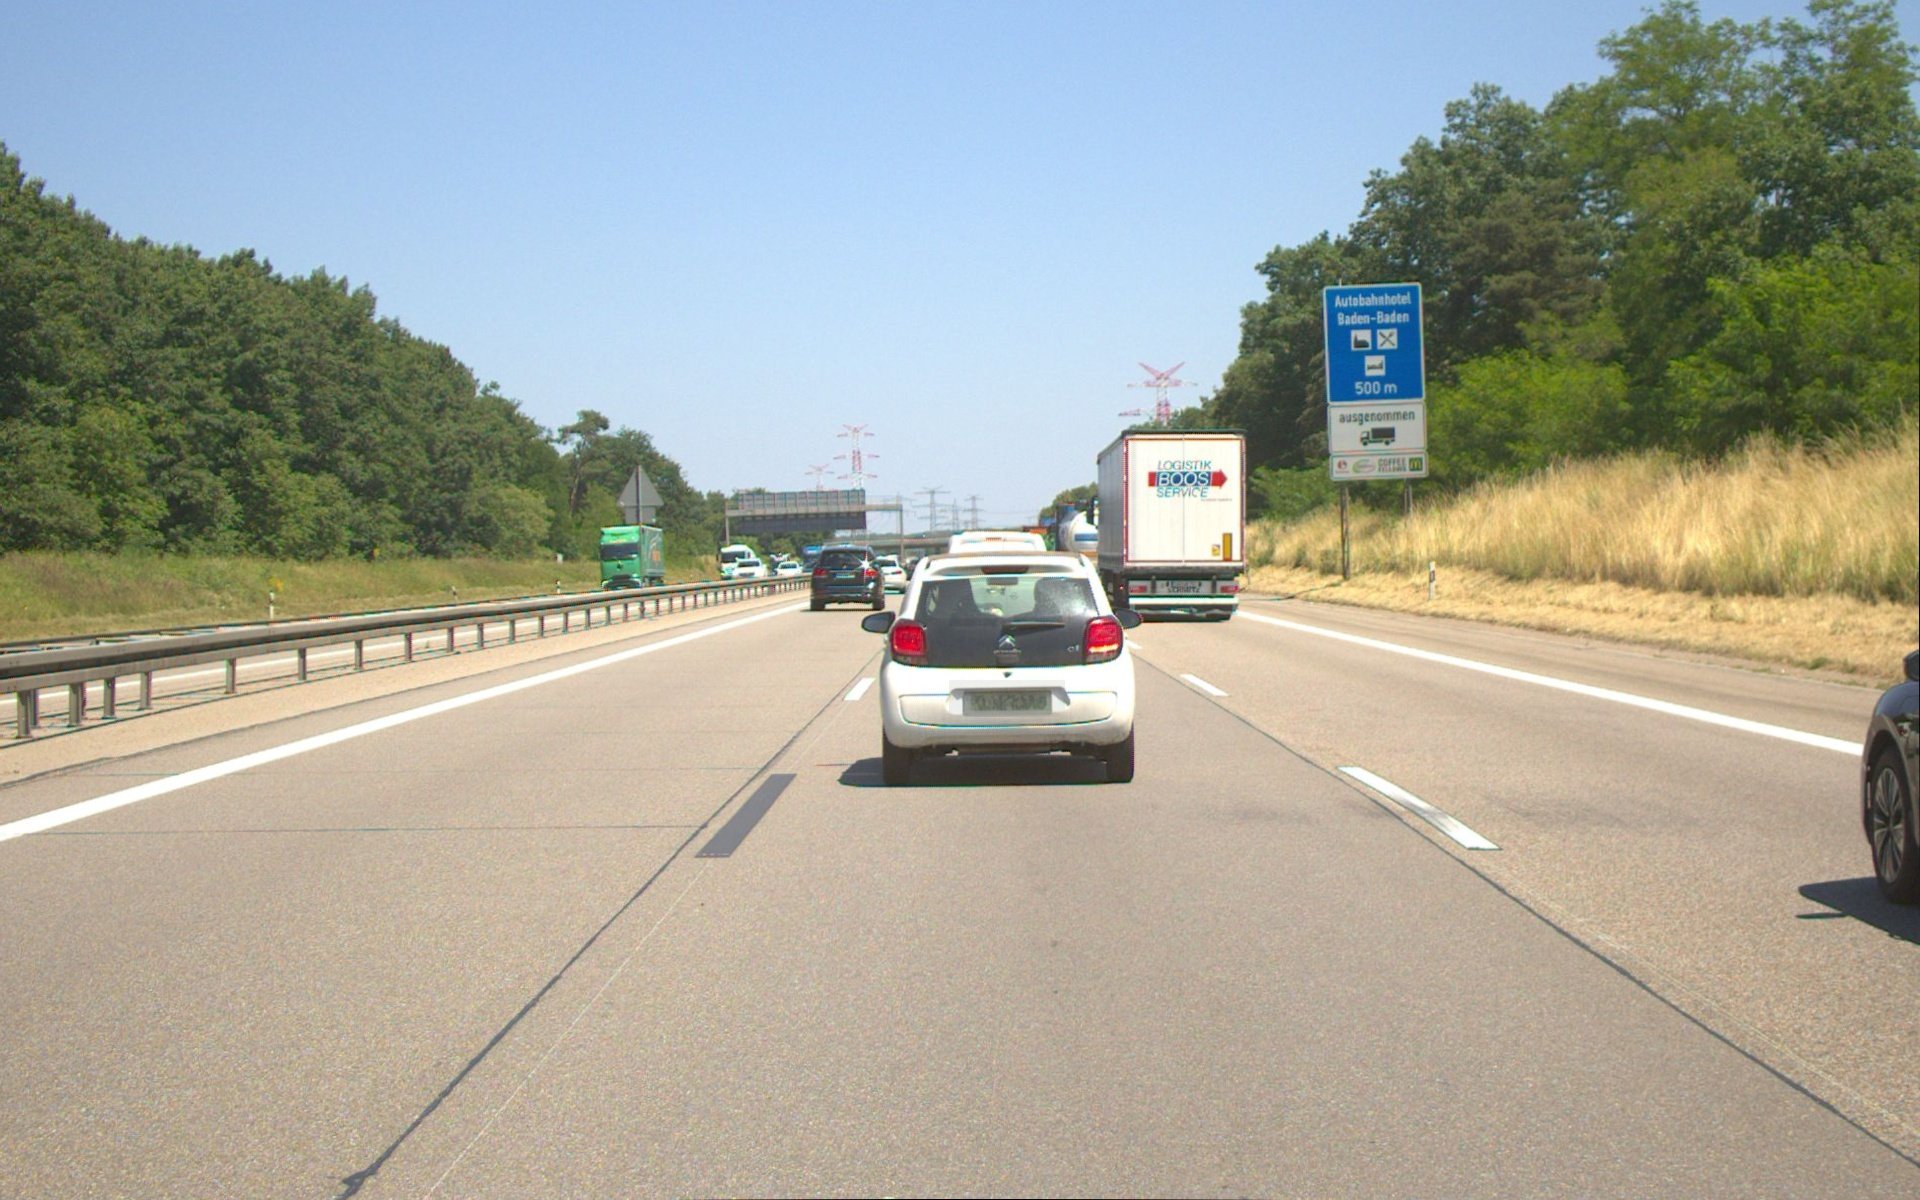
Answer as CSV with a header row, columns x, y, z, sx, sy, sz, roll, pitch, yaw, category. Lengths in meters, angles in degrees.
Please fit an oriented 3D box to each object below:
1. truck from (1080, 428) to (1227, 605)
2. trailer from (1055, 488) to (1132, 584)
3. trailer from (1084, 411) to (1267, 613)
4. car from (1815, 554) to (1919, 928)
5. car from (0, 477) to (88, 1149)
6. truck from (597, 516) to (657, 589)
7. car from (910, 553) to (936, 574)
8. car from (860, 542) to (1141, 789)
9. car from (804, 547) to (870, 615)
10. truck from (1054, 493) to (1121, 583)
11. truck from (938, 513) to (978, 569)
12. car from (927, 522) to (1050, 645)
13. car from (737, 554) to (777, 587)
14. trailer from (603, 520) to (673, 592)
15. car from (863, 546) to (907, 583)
x,y,z,sx,sy,sz,roll,pitch,yaw,category
4.736,-2.038,85.301,3.286,4.205,6.008,0,1,0,truck
5.498,-2.622,143.015,2.682,3.824,12.011,0,1,0,trailer
4.762,-1.918,78.740,3.286,4.205,13.566,0,1,0,trailer
4.654,0.559,12.506,1.821,1.451,4.789,-1,1,-1,car
-3.454,0.619,6.922,1.940,1.746,5.814,-1,2,-1,car
-20.149,-2.882,208.531,2.700,4.147,6.297,-4,1,0,truck
-2.398,-2.368,222.306,1.607,1.296,3.674,-1,1,0,car
0.256,0.369,23.125,1.708,1.490,4.024,-1,1,0,car
-3.304,-0.535,92.921,1.626,1.749,3.805,-1,1,0,car
5.490,-2.671,148.717,2.682,3.824,4.444,0,1,0,truck
-0.115,-3.139,183.522,2.060,2.904,7.003,-2,1,0,truck
0.420,-0.281,54.682,1.814,1.821,5.111,-2,1,0,car
-12.125,-1.789,205.689,1.954,1.786,5.562,-4,1,0,car
-20.109,-2.779,215.441,2.705,4.147,14.339,-4,1,0,trailer
-2.952,-1.416,136.014,1.669,1.396,3.713,-2,1,-1,car
